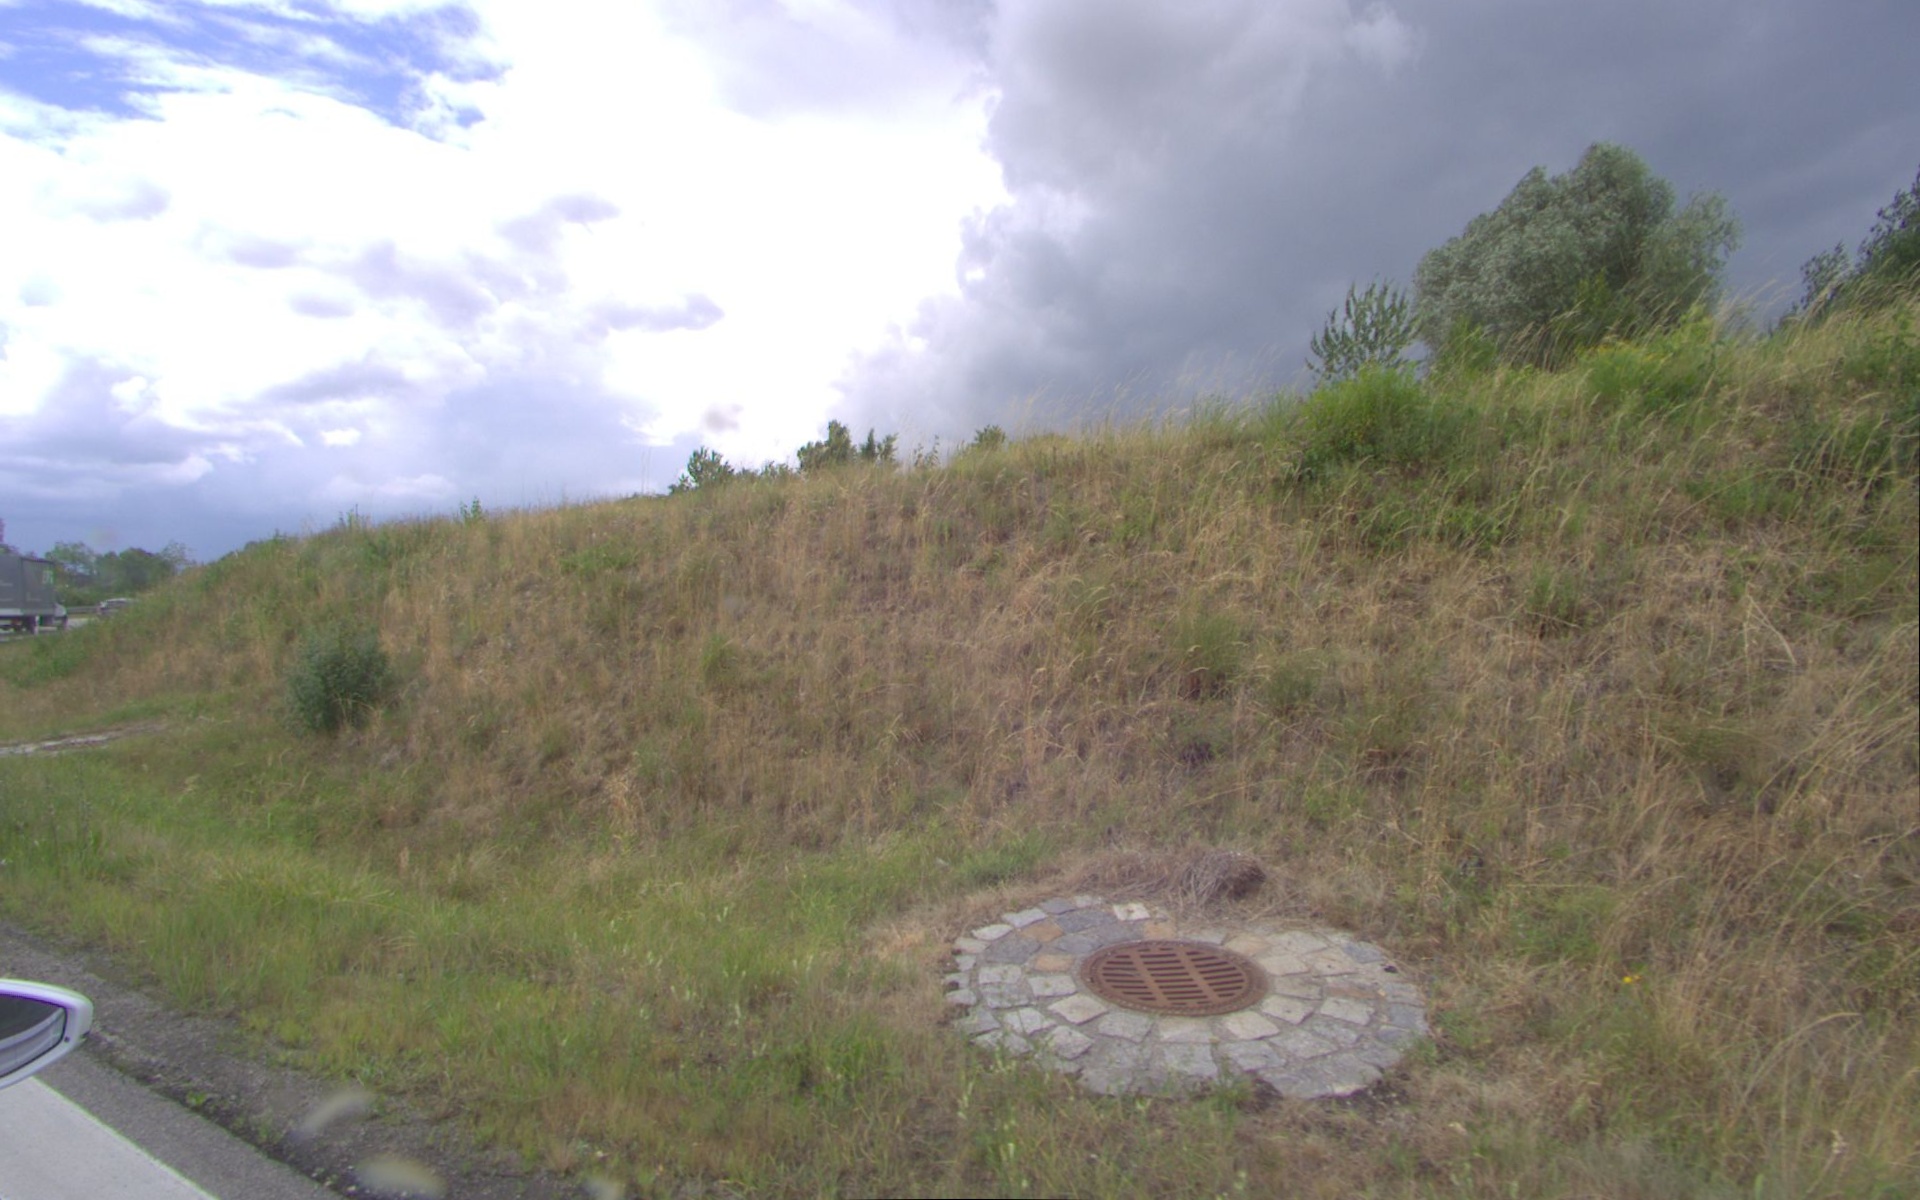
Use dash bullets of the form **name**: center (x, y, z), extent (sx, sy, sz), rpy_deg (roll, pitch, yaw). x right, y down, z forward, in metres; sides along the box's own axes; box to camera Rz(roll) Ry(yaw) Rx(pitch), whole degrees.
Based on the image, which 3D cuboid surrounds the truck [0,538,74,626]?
- **truck**: center (-45.273, -0.758, 48.424), extent (2.202, 3.956, 5.991), rpy_deg (0, -2, -28)

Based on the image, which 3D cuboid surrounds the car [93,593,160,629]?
- **car**: center (-50.594, 0.699, 60.856), extent (1.967, 2.039, 3.989), rpy_deg (0, -2, -22)
